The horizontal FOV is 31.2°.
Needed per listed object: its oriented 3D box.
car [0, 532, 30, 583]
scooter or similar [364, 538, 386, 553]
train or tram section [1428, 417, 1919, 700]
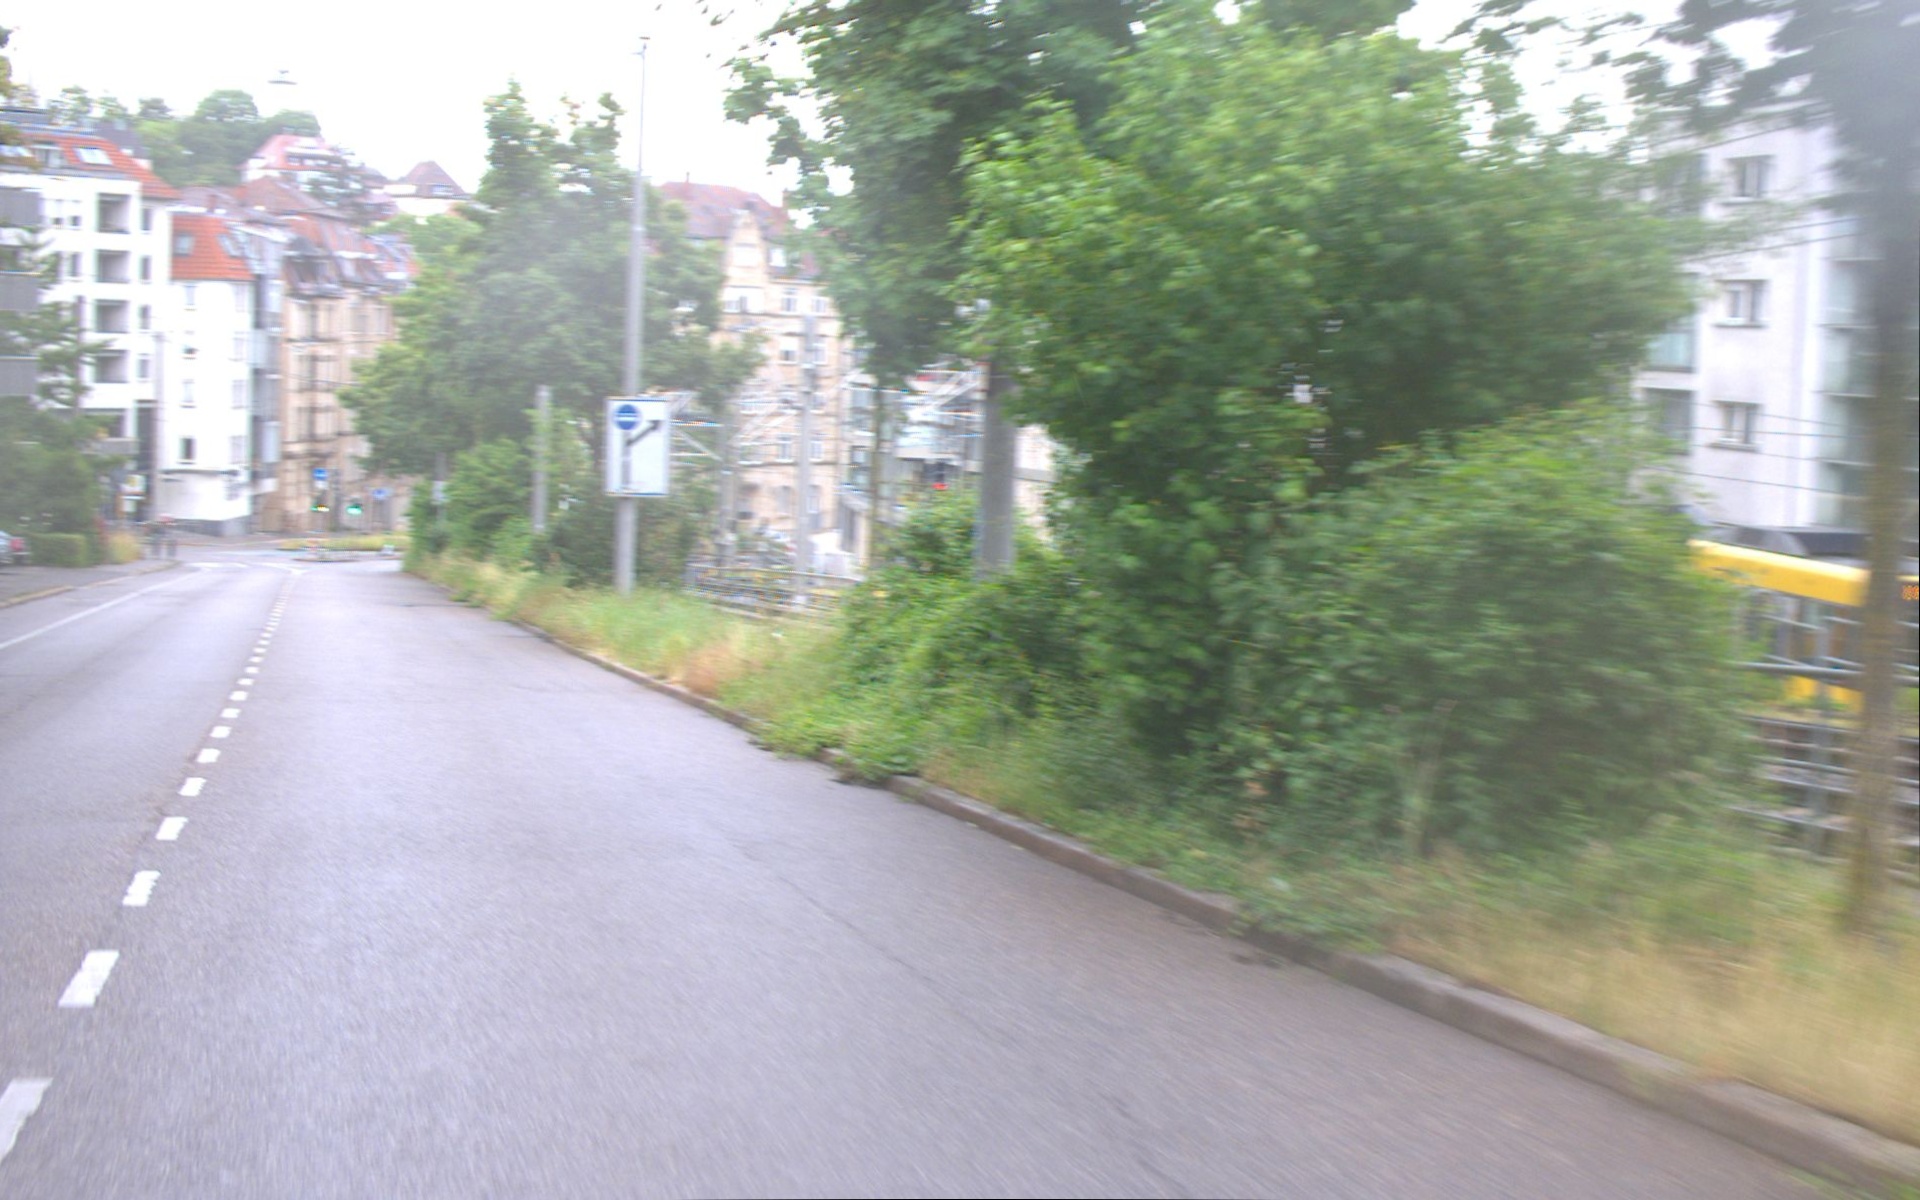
[{"bbox_3d":[-27.850,-1.220,95.612,3.630,1.402,1.784,2,0,-9],"label":"car"},{"bbox_3d":[-29.065,-2.708,170.812,0.485,0.759,1.329,1,1,17],"label":"scooter or similar"},{"bbox_3d":[12.590,-0.793,57.604,3.329,3.934,19.288,1,1,-11],"label":"train or tram section"}]
